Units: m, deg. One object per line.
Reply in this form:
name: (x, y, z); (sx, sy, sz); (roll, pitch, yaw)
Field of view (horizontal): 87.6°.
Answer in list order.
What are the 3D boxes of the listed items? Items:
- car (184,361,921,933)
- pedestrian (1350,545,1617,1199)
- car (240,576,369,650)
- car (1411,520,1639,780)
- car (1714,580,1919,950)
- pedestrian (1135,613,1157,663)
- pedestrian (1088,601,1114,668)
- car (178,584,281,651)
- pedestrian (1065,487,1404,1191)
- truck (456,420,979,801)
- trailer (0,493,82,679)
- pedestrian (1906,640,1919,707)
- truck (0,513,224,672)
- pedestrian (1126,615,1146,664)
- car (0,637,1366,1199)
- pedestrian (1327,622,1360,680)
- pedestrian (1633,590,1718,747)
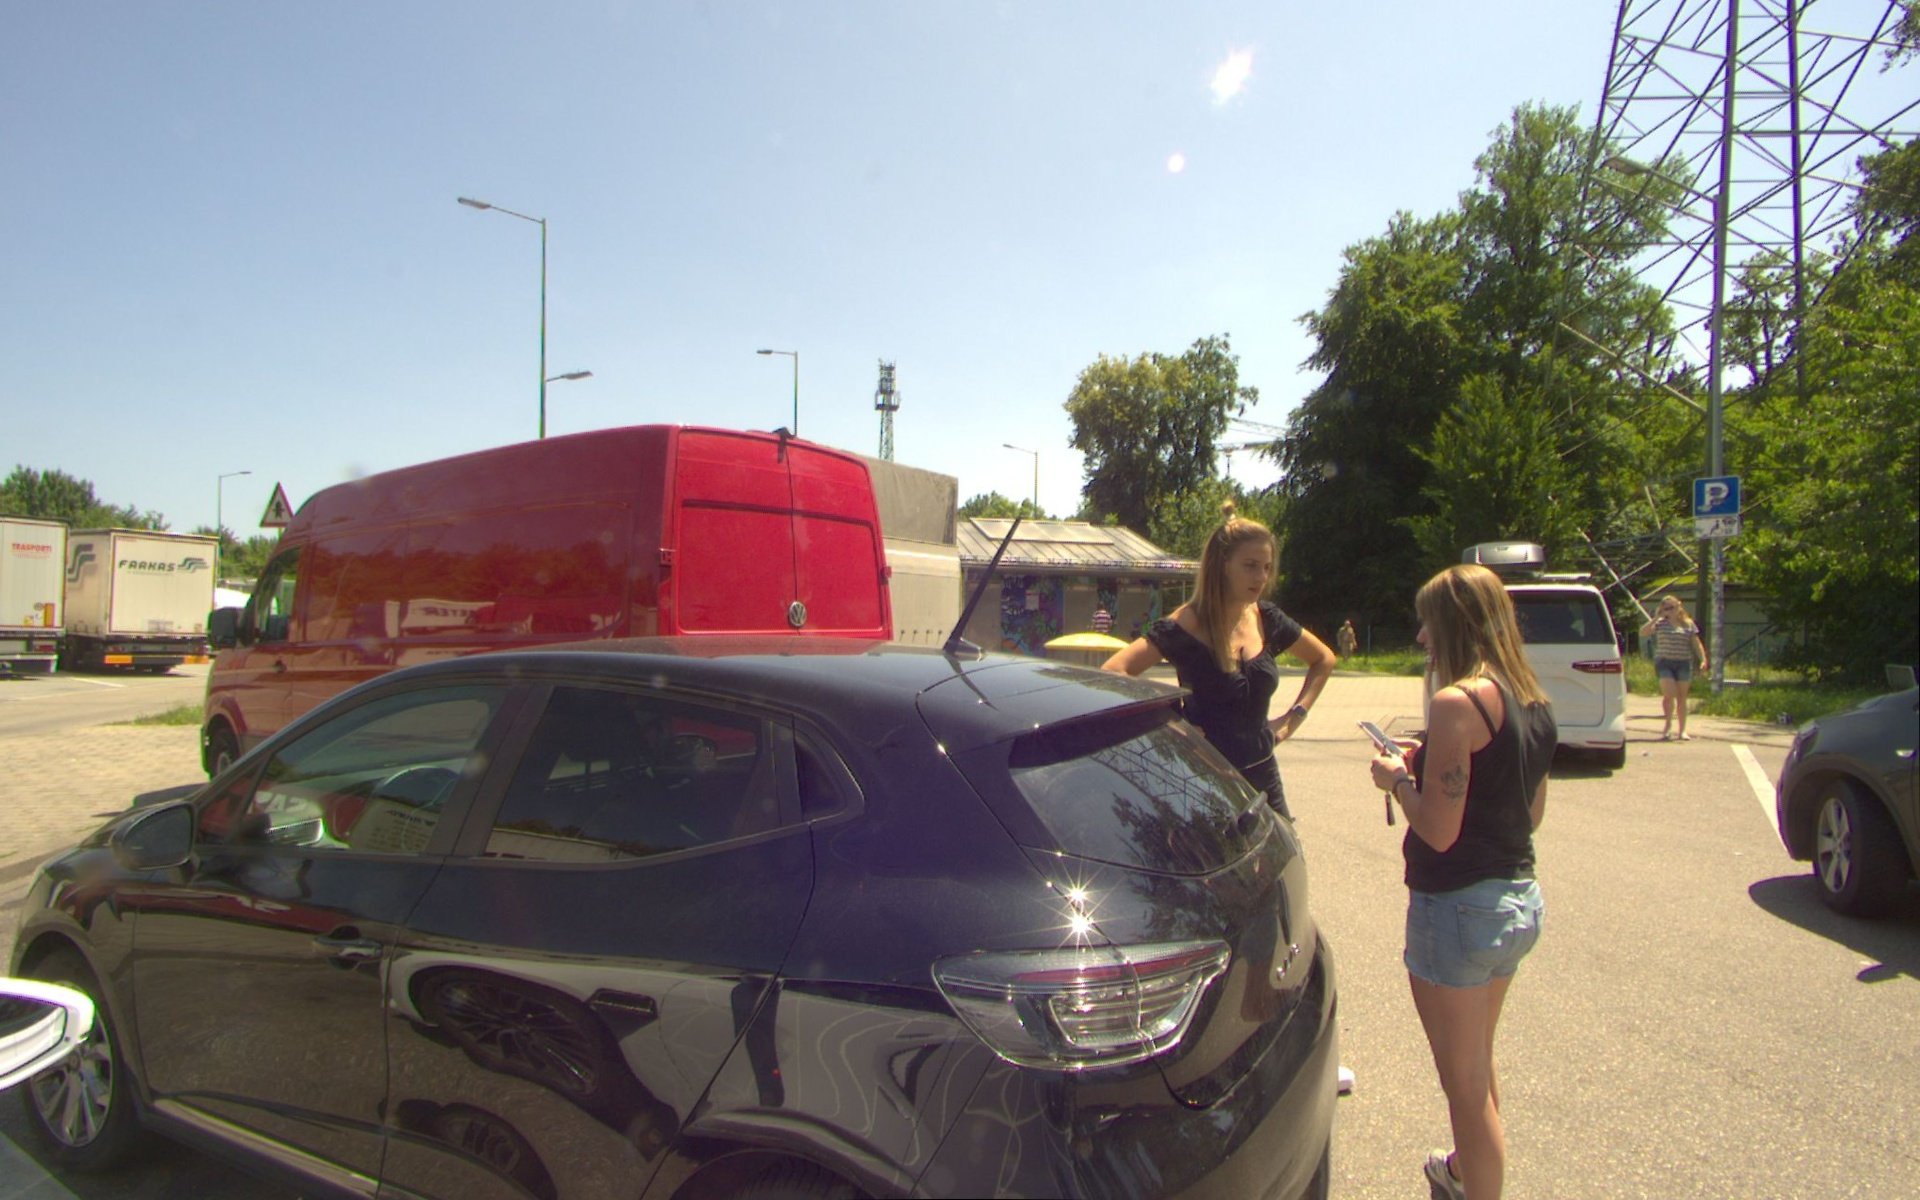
car: (-3.376, 0.246, 7.345); (6.298, 2.668, 1.988); (0, -1, 36)
pedestrian: (1.182, 0.707, 2.284); (0.478, 1.615, 0.501); (0, 0, 29)
car: (-29.447, 0.591, 44.932); (6.259, 3.115, 2.495); (0, -1, 32)
car: (6.633, 0.521, 11.877); (1.901, 2.401, 4.954); (1, -1, 29)
car: (5.086, 0.727, 3.669); (1.803, 1.638, 4.168); (1, -1, 6)
pedestrian: (5.538, 1.124, 29.846); (0.521, 1.478, 0.576); (0, 0, 23)
pedestrian: (3.813, 0.928, 27.040); (0.520, 1.783, 0.651); (0, 0, 23)
car: (-29.918, 0.746, 41.014); (3.943, 2.632, 2.111); (-1, -2, 32)
pedestrian: (0.845, 0.651, 3.095); (0.898, 1.884, 0.485); (1, 0, -25)
truck: (-2.470, 0.166, 9.906); (4.751, 2.863, 2.514); (-1, -2, 34)
trailer: (-28.571, -0.345, 27.849); (12.642, 4.511, 2.677); (0, -1, 32)
pedestrian: (17.133, 1.283, 17.434); (0.694, 1.178, 0.787); (-1, -1, 22)
truck: (-27.074, -0.031, 31.184); (11.800, 4.279, 2.582); (-1, -2, 32)
pedestrian: (4.970, 1.116, 28.286); (0.439, 1.362, 0.477); (0, 0, 23)
car: (-0.881, 0.848, 2.845); (3.628, 1.476, 1.776); (-1, -2, 28)
pedestrian: (13.610, 1.810, 35.562); (0.955, 2.039, 0.829); (0, -1, 10)
pedestrian: (9.028, 0.845, 12.671); (0.765, 1.903, 0.836); (-1, -1, 30)
